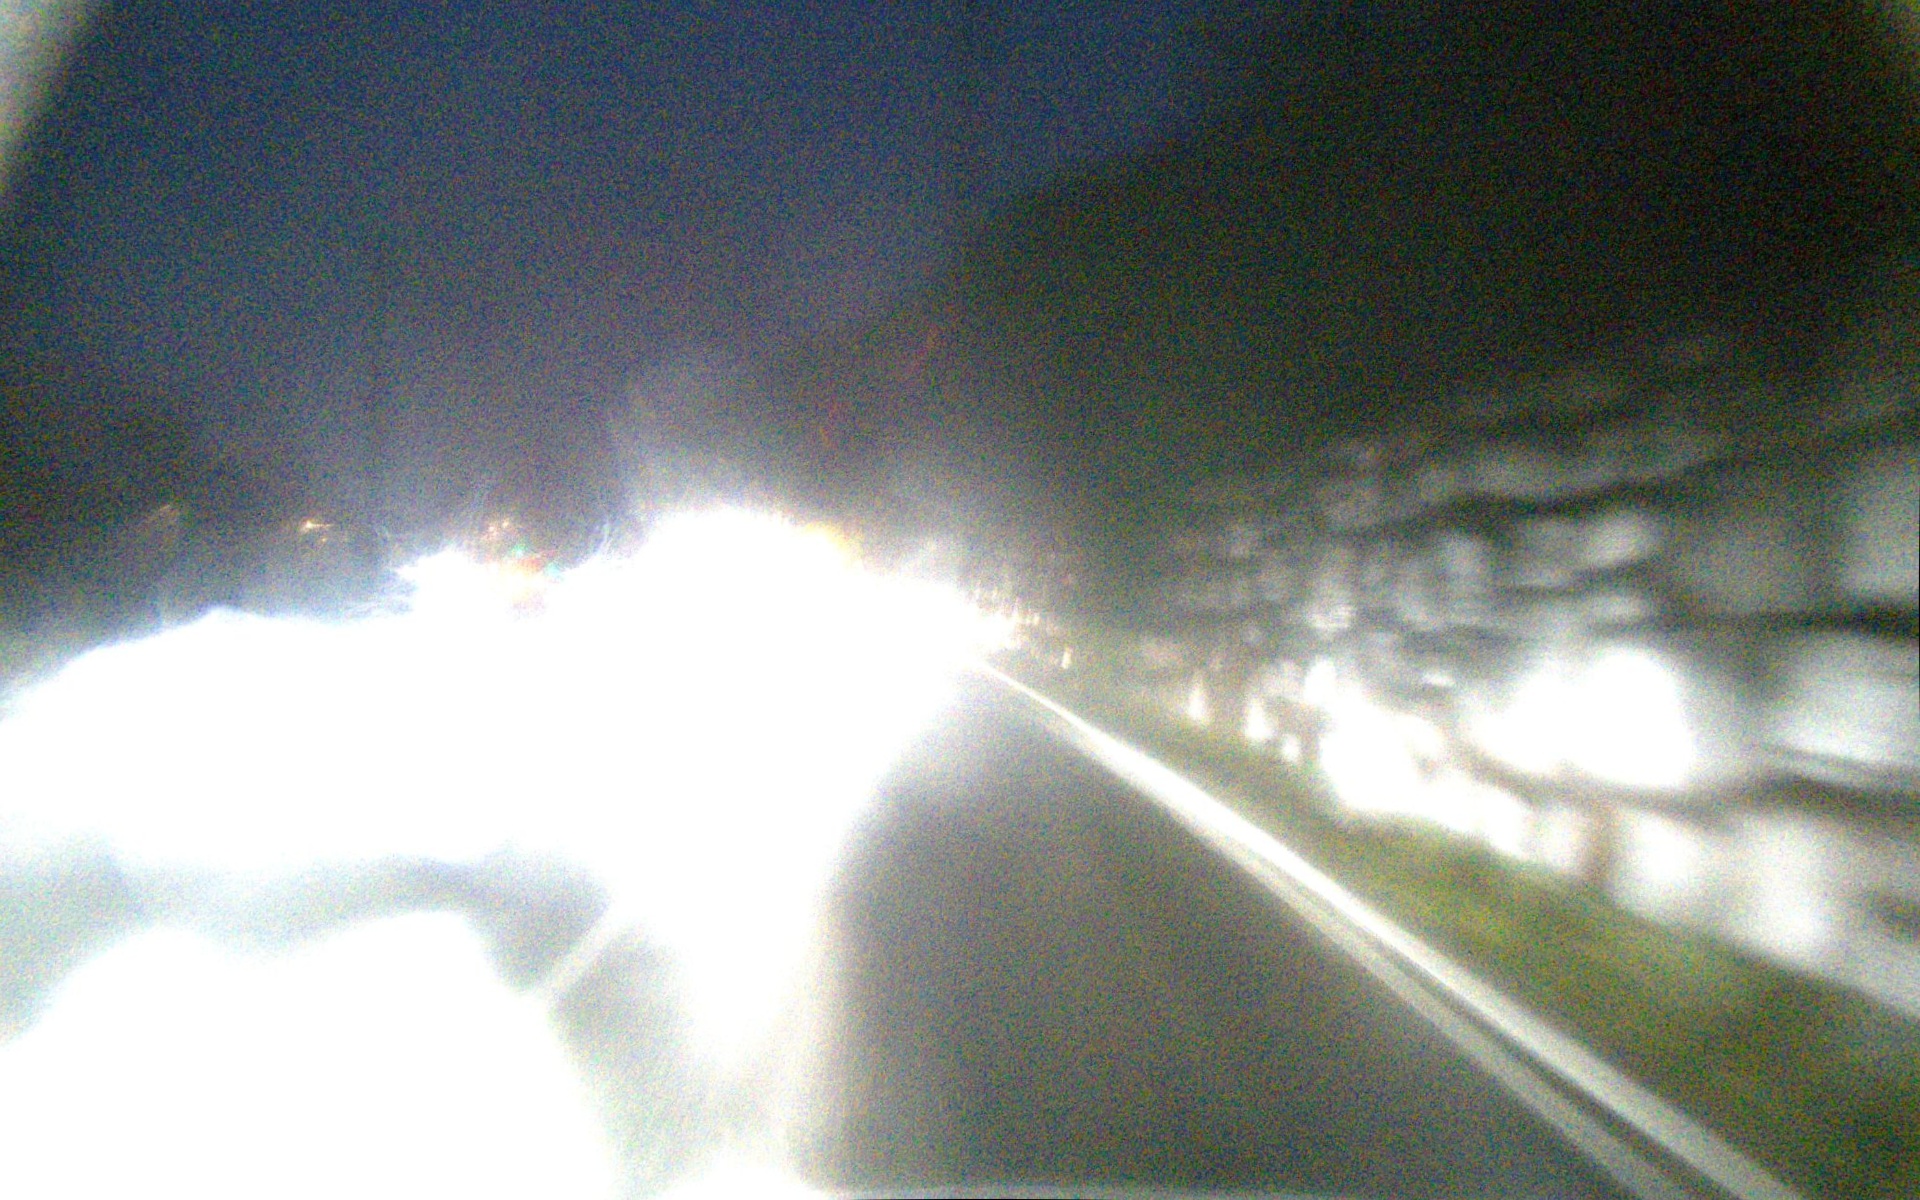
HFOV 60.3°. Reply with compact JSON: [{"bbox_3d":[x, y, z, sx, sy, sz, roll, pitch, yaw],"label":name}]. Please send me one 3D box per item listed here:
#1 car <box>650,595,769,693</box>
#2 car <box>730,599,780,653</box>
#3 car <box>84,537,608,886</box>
[{"bbox_3d":[-5.035,0.845,33.778,1.954,1.837,4.593,1,0,-3],"label":"car"},{"bbox_3d":[-7.645,0.942,61.914,1.754,1.650,4.373,0,4,-6],"label":"car"},{"bbox_3d":[-3.480,0.555,10.310,1.772,1.705,4.291,1,0,-2],"label":"car"}]
